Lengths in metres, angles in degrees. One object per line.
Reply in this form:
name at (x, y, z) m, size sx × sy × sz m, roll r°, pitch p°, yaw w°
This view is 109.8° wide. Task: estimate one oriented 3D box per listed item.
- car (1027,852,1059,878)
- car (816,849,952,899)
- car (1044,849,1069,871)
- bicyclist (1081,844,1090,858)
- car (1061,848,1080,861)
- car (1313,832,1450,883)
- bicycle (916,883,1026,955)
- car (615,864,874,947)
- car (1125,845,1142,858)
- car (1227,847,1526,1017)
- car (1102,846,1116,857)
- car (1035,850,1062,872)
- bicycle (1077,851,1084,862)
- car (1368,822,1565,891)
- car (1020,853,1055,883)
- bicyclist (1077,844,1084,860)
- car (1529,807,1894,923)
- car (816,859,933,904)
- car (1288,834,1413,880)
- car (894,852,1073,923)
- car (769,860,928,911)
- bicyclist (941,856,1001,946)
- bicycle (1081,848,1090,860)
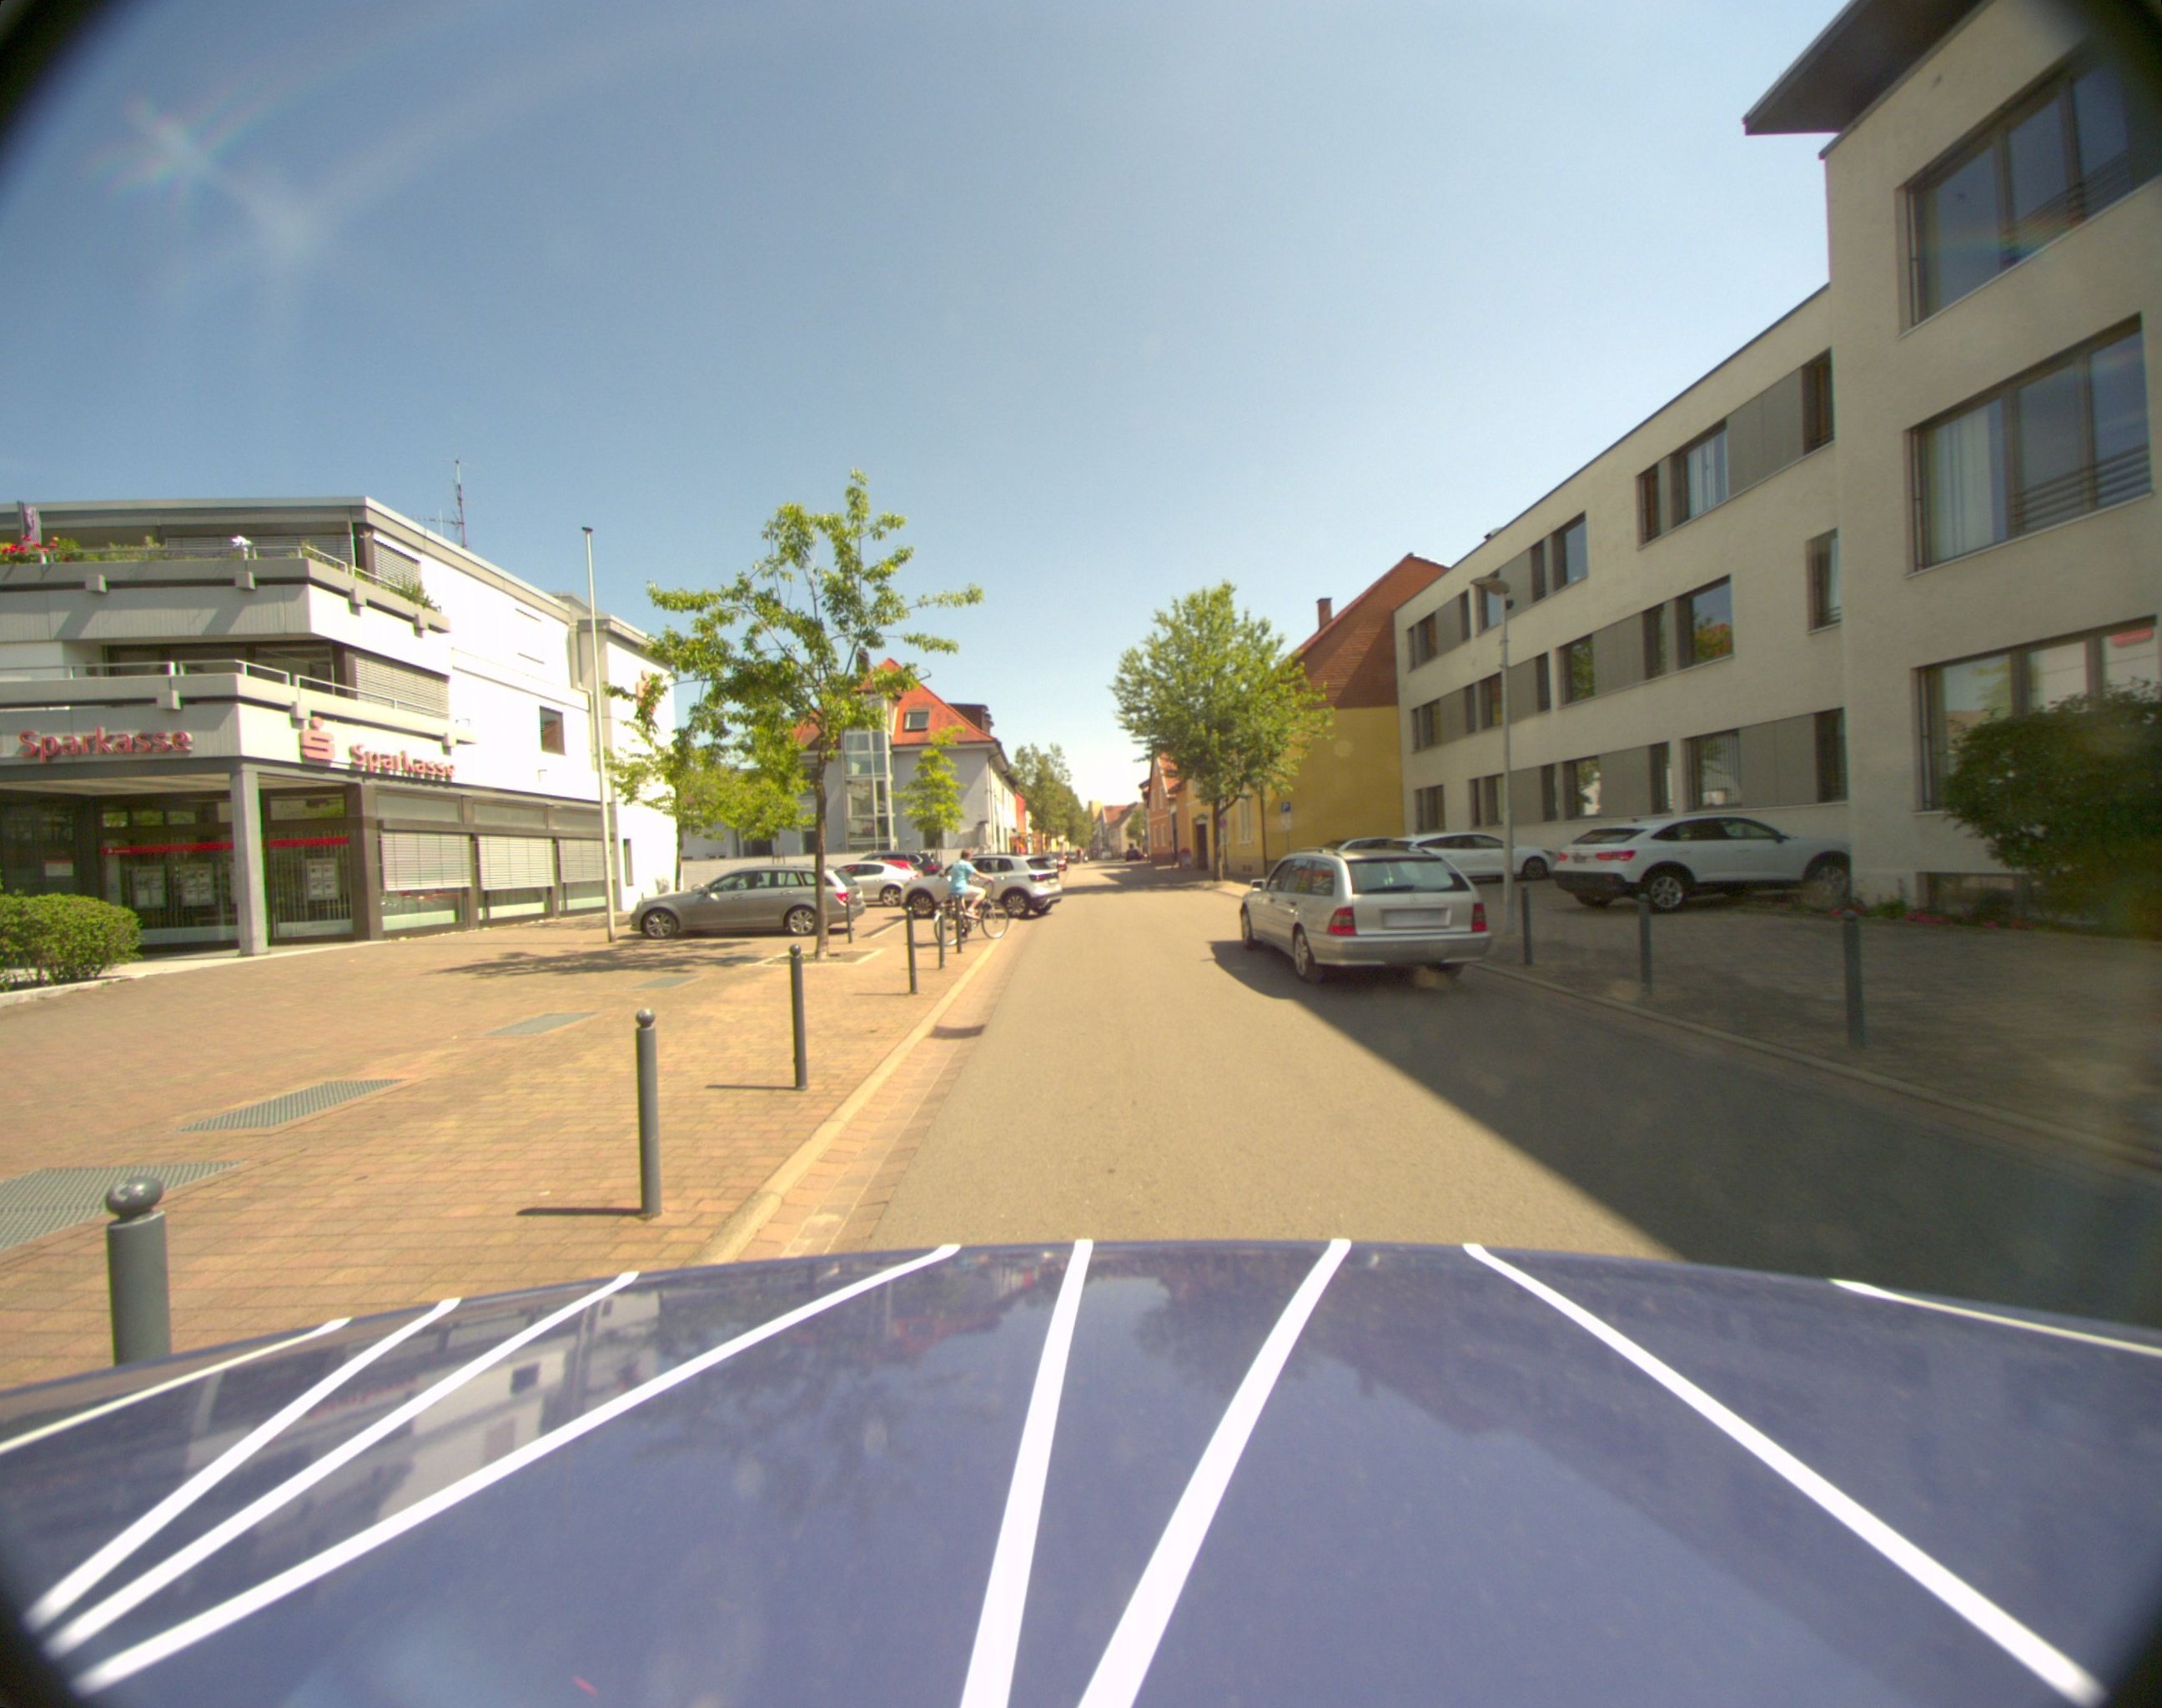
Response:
car at (-2.325, 0.647, 47.466) m, size 1.721 × 1.472 × 4.095 m, roll -2°, pitch 1°, yaw 1°
car at (-7.436, 0.746, 29.103) m, size 4.643 × 1.760 × 2.147 m, roll -1°, pitch 0°, yaw -3°
car at (-1.991, 0.492, 61.297) m, size 1.834 × 1.579 × 4.086 m, roll -4°, pitch 1°, yaw -3°
bicyclist at (0.551, -0.402, 90.351) m, size 1.028 × 1.635 × 1.025 m, roll -2°, pitch 1°, yaw 3°
car at (-1.357, 0.068, 98.958) m, size 1.928 × 1.594 × 4.110 m, roll -3°, pitch 1°, yaw 7°
car at (10.400, 0.119, 26.522) m, size 3.997 × 1.443 × 1.807 m, roll -4°, pitch 0°, yaw -1°
bicycle at (-1.915, 1.108, 13.464) m, size 0.674 × 1.103 × 1.900 m, roll -1°, pitch 0°, yaw 43°
car at (-6.903, 1.025, 16.039) m, size 4.589 × 1.504 × 1.915 m, roll -1°, pitch 1°, yaw -6°
car at (6.917, -0.323, 99.264) m, size 1.862 × 1.620 × 4.049 m, roll -3°, pitch 1°, yaw 7°
car at (3.200, 0.713, 9.327) m, size 1.885 × 1.456 × 4.434 m, roll -2°, pitch 1°, yaw 0°
car at (5.986, -0.528, 162.077) m, size 2.443 × 2.224 × 4.959 m, roll -2°, pitch 0°, yaw -3°
car at (-2.324, 0.510, 55.215) m, size 1.741 × 1.504 × 3.735 m, roll -2°, pitch 0°, yaw -1°
bicycle at (-0.046, 0.275, 85.089) m, size 0.635 × 1.227 × 1.895 m, roll -1°, pitch -1°, yaw 6°
car at (10.777, 0.047, 21.461) m, size 4.515 × 1.545 × 1.934 m, roll -4°, pitch 2°, yaw 0°
car at (-2.342, 0.734, 41.797) m, size 1.708 × 1.472 × 3.921 m, roll -1°, pitch 1°, yaw -1°
bicyclist at (-0.055, -0.239, 85.133) m, size 0.645 × 1.766 × 0.722 m, roll -1°, pitch 0°, yaw 6°
car at (10.656, 0.159, 13.137) m, size 4.518 × 1.545 × 2.147 m, roll -4°, pitch 1°, yaw -1°
car at (-7.213, 0.941, 26.829) m, size 3.740 × 1.444 × 1.744 m, roll -1°, pitch 0°, yaw -6°
car at (10.299, 0.123, 29.181) m, size 3.998 × 1.423 × 1.972 m, roll -4°, pitch 0°, yaw -4°
car at (-2.423, 0.839, 19.227) m, size 3.992 × 1.565 × 1.859 m, roll -2°, pitch 3°, yaw 17°
car at (-7.277, 0.968, 24.212) m, size 4.549 × 1.432 × 1.838 m, roll -1°, pitch 0°, yaw -6°
bicyclist at (-1.945, 0.810, 13.450) m, size 0.669 × 1.518 × 0.763 m, roll -1°, pitch 1°, yaw 42°
bicycle at (0.554, -0.063, 90.366) m, size 0.959 × 1.363 × 2.406 m, roll -2°, pitch 1°, yaw 4°
